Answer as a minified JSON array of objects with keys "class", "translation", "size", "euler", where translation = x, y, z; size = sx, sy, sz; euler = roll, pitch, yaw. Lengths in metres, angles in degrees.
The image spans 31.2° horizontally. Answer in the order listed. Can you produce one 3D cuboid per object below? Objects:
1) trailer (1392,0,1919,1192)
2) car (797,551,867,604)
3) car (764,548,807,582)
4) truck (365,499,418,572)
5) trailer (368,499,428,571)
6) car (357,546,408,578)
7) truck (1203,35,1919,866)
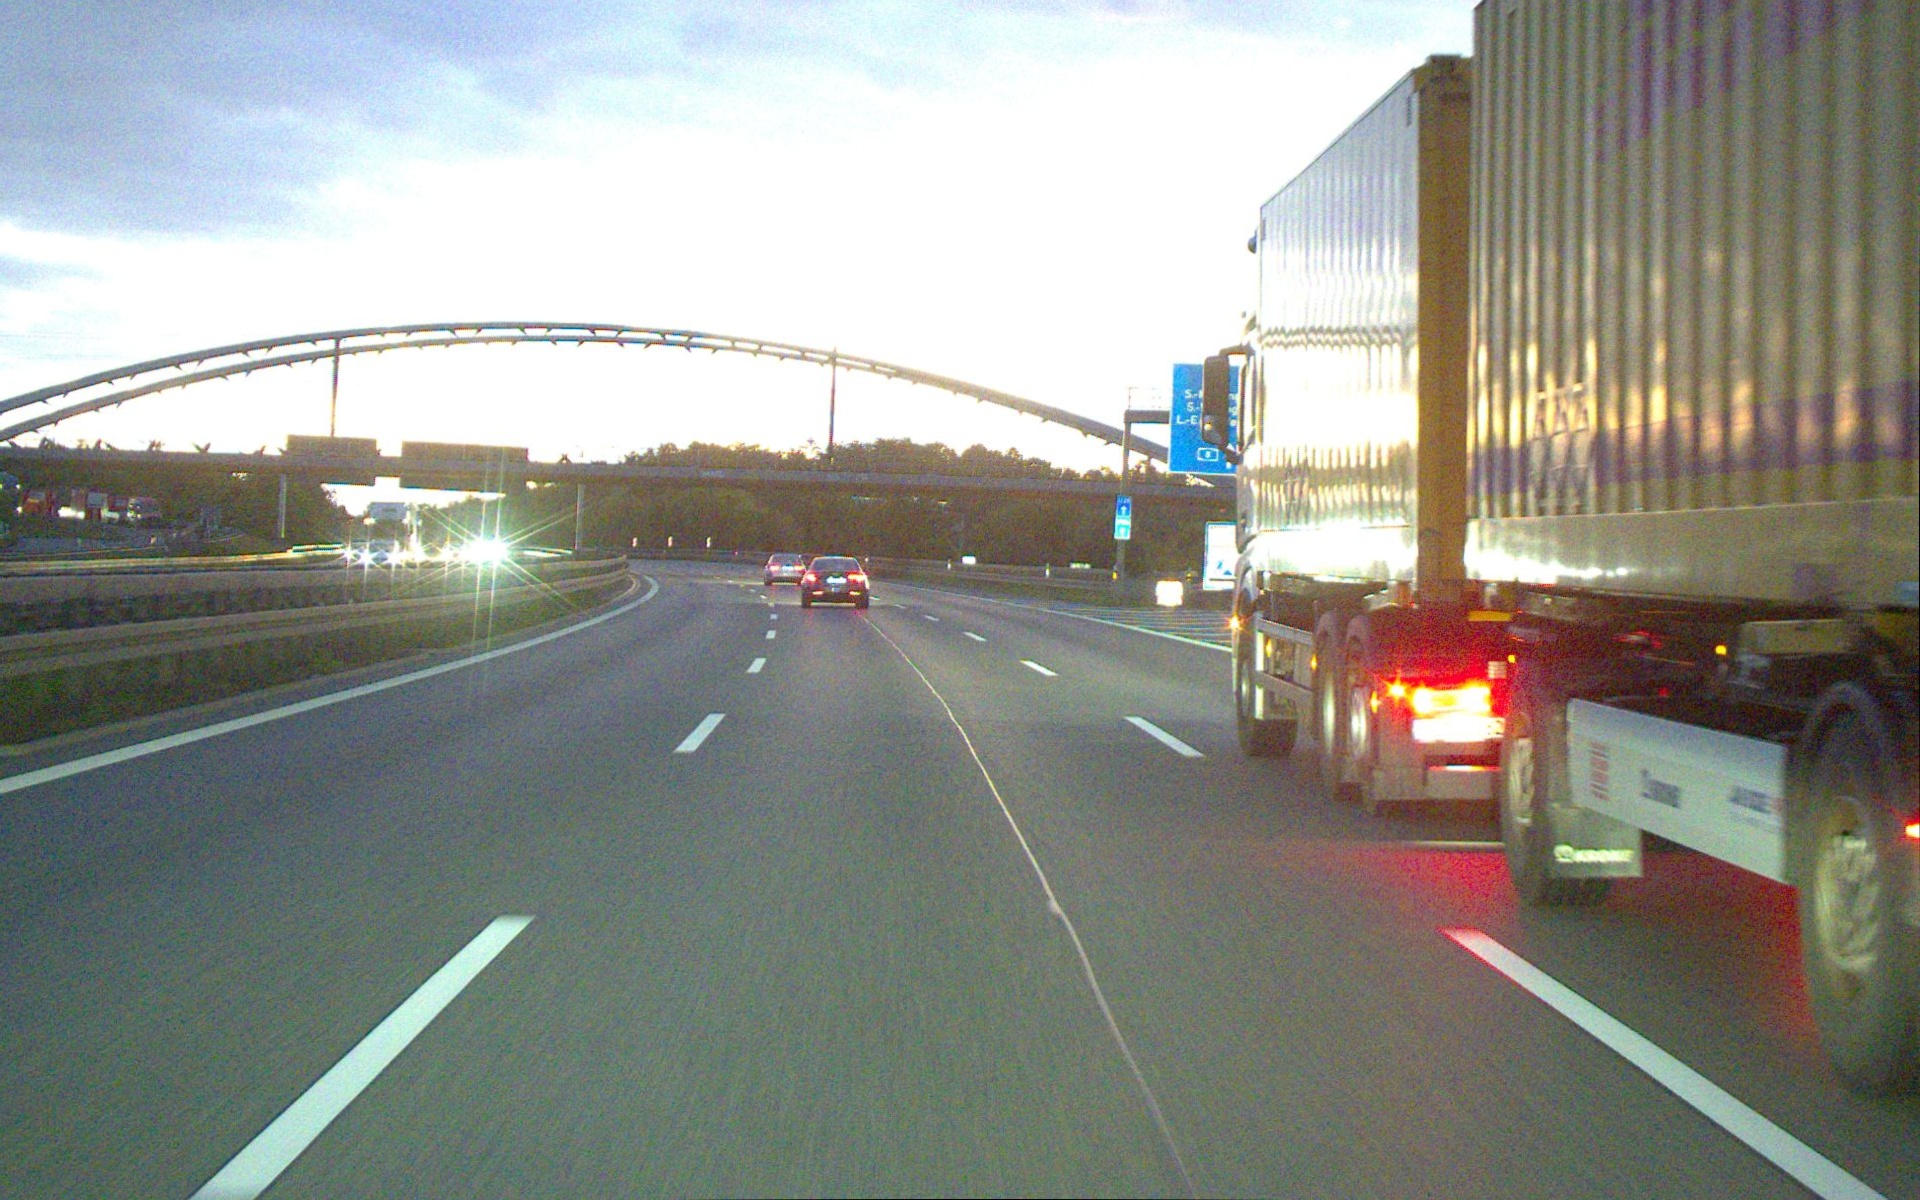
[{"class":"trailer","translation":[3.582,-0.672,12.482],"size":[2.722,4.057,8.831],"euler":[1,1,-1]},{"class":"car","translation":[-3.622,-0.623,96.585],"size":[1.689,1.397,3.409],"euler":[1,-1,-6]},{"class":"car","translation":[-7.833,-1.559,154.535],"size":[1.689,1.397,3.408],"euler":[0,-1,1]},{"class":"truck","translation":[-35.799,-4.067,216.582],"size":[2.824,4.492,6.246],"euler":[1,1,-5]},{"class":"trailer","translation":[-36.402,-4.160,223.139],"size":[2.824,4.492,14.631],"euler":[1,1,-5]},{"class":"car","translation":[-30.689,-2.021,182.756],"size":[1.993,1.619,4.844],"euler":[1,1,-1]},{"class":"truck","translation":[3.399,-0.804,22.211],"size":[2.690,4.057,10.521],"euler":[1,1,-1]}]
